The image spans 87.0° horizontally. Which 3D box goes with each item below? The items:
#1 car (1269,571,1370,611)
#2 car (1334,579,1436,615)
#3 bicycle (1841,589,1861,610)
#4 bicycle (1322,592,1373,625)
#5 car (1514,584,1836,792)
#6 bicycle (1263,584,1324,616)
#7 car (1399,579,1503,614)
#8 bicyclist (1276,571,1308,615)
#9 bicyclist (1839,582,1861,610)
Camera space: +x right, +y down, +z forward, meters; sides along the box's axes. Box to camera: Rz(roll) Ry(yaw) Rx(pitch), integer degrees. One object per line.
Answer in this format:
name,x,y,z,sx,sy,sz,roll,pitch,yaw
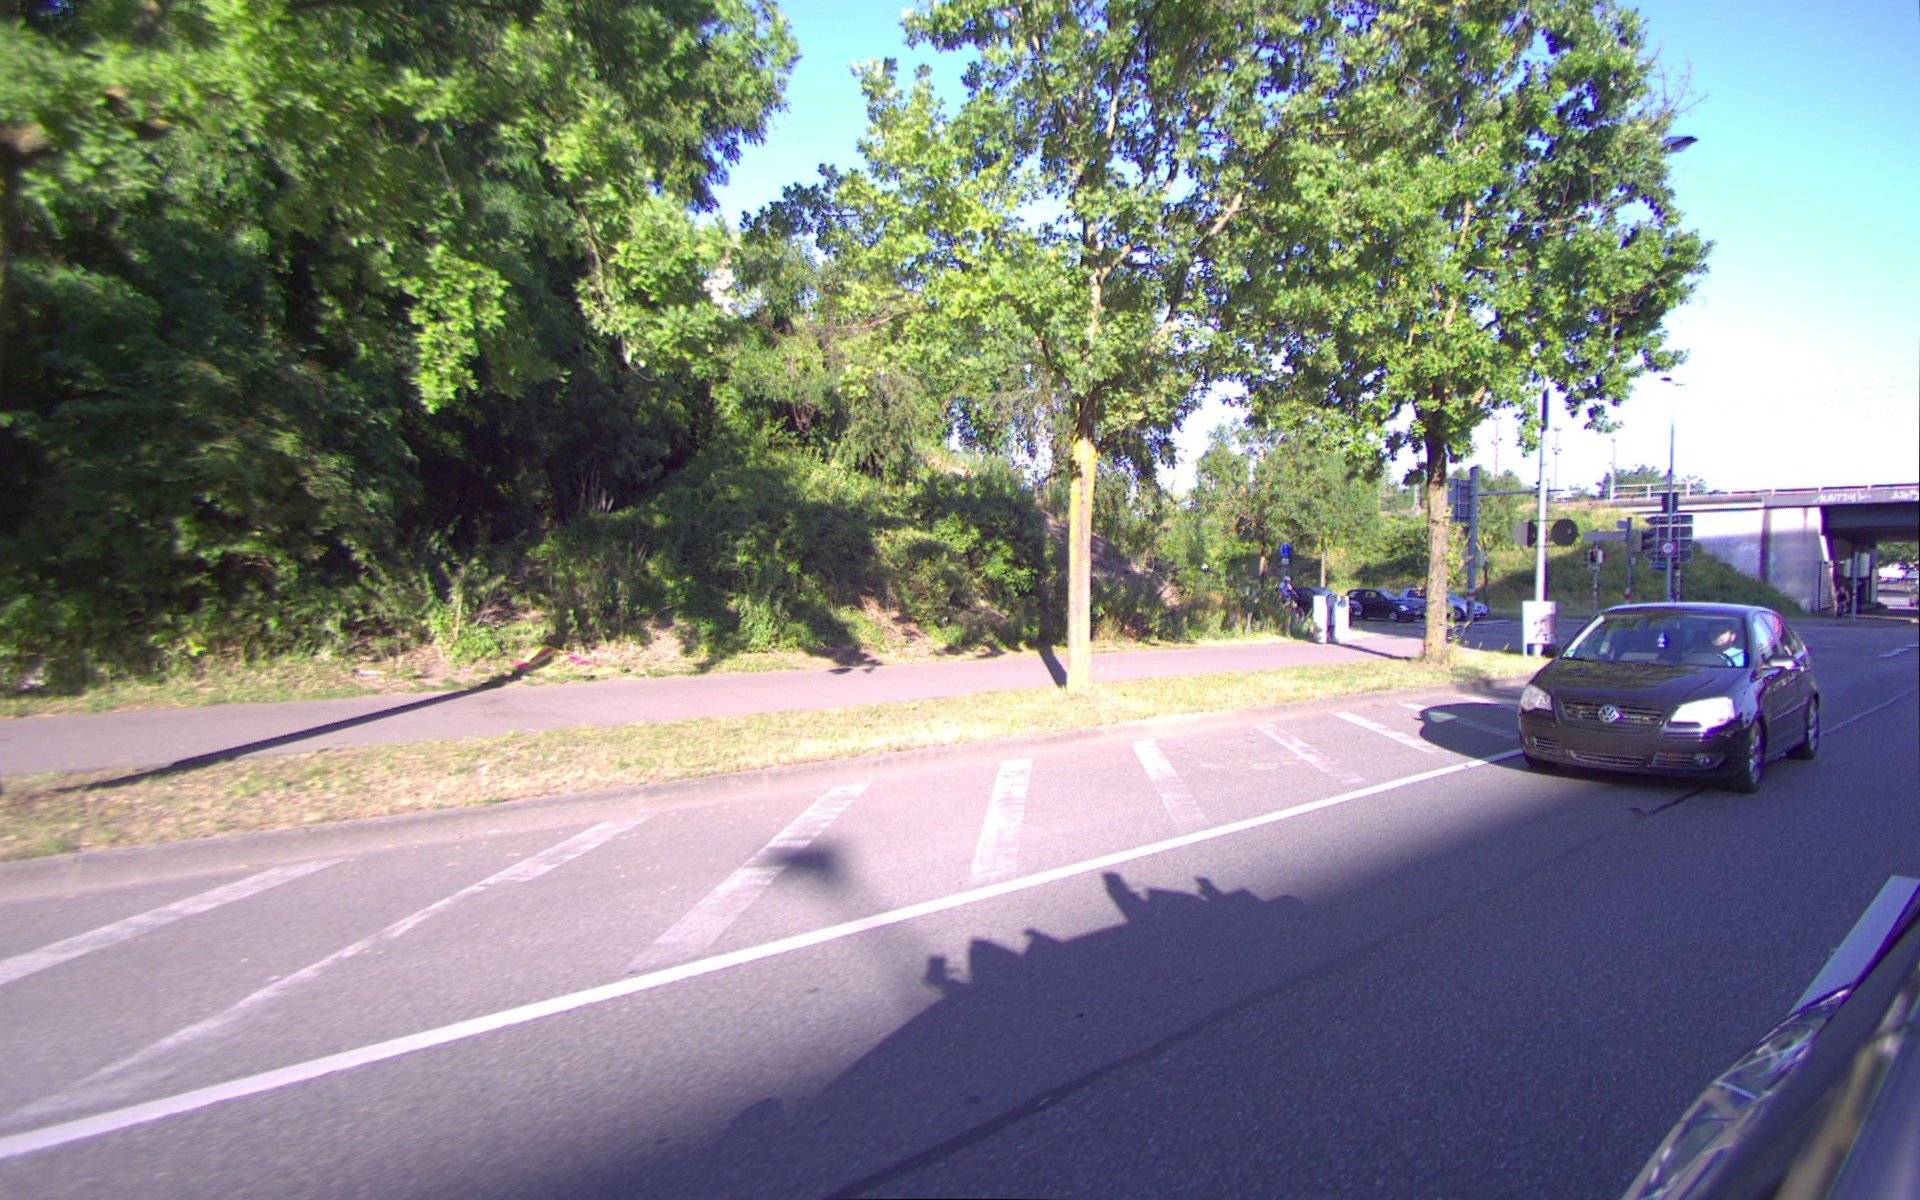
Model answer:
car,16.343,-0.424,46.159,1.827,1.715,4.001,-2,1,-34
car,19.738,-0.150,47.128,1.962,1.549,4.001,-2,1,-34
bicycle,48.013,-0.019,54.548,0.779,1.070,2.460,0,1,41
bicycle,13.150,0.285,34.384,0.566,1.003,1.671,3,1,-24
car,6.485,0.607,9.037,3.621,1.427,1.618,-2,1,-42
bicycle,12.469,-0.005,37.894,0.807,1.126,2.016,-2,1,-40
car,23.067,-0.163,47.652,1.857,1.549,3.996,-2,1,-39
bicyclist,12.441,-0.269,37.905,0.779,1.614,0.858,-1,1,-41
bicyclist,48.030,-0.217,54.614,0.840,1.439,1.098,-1,1,41
